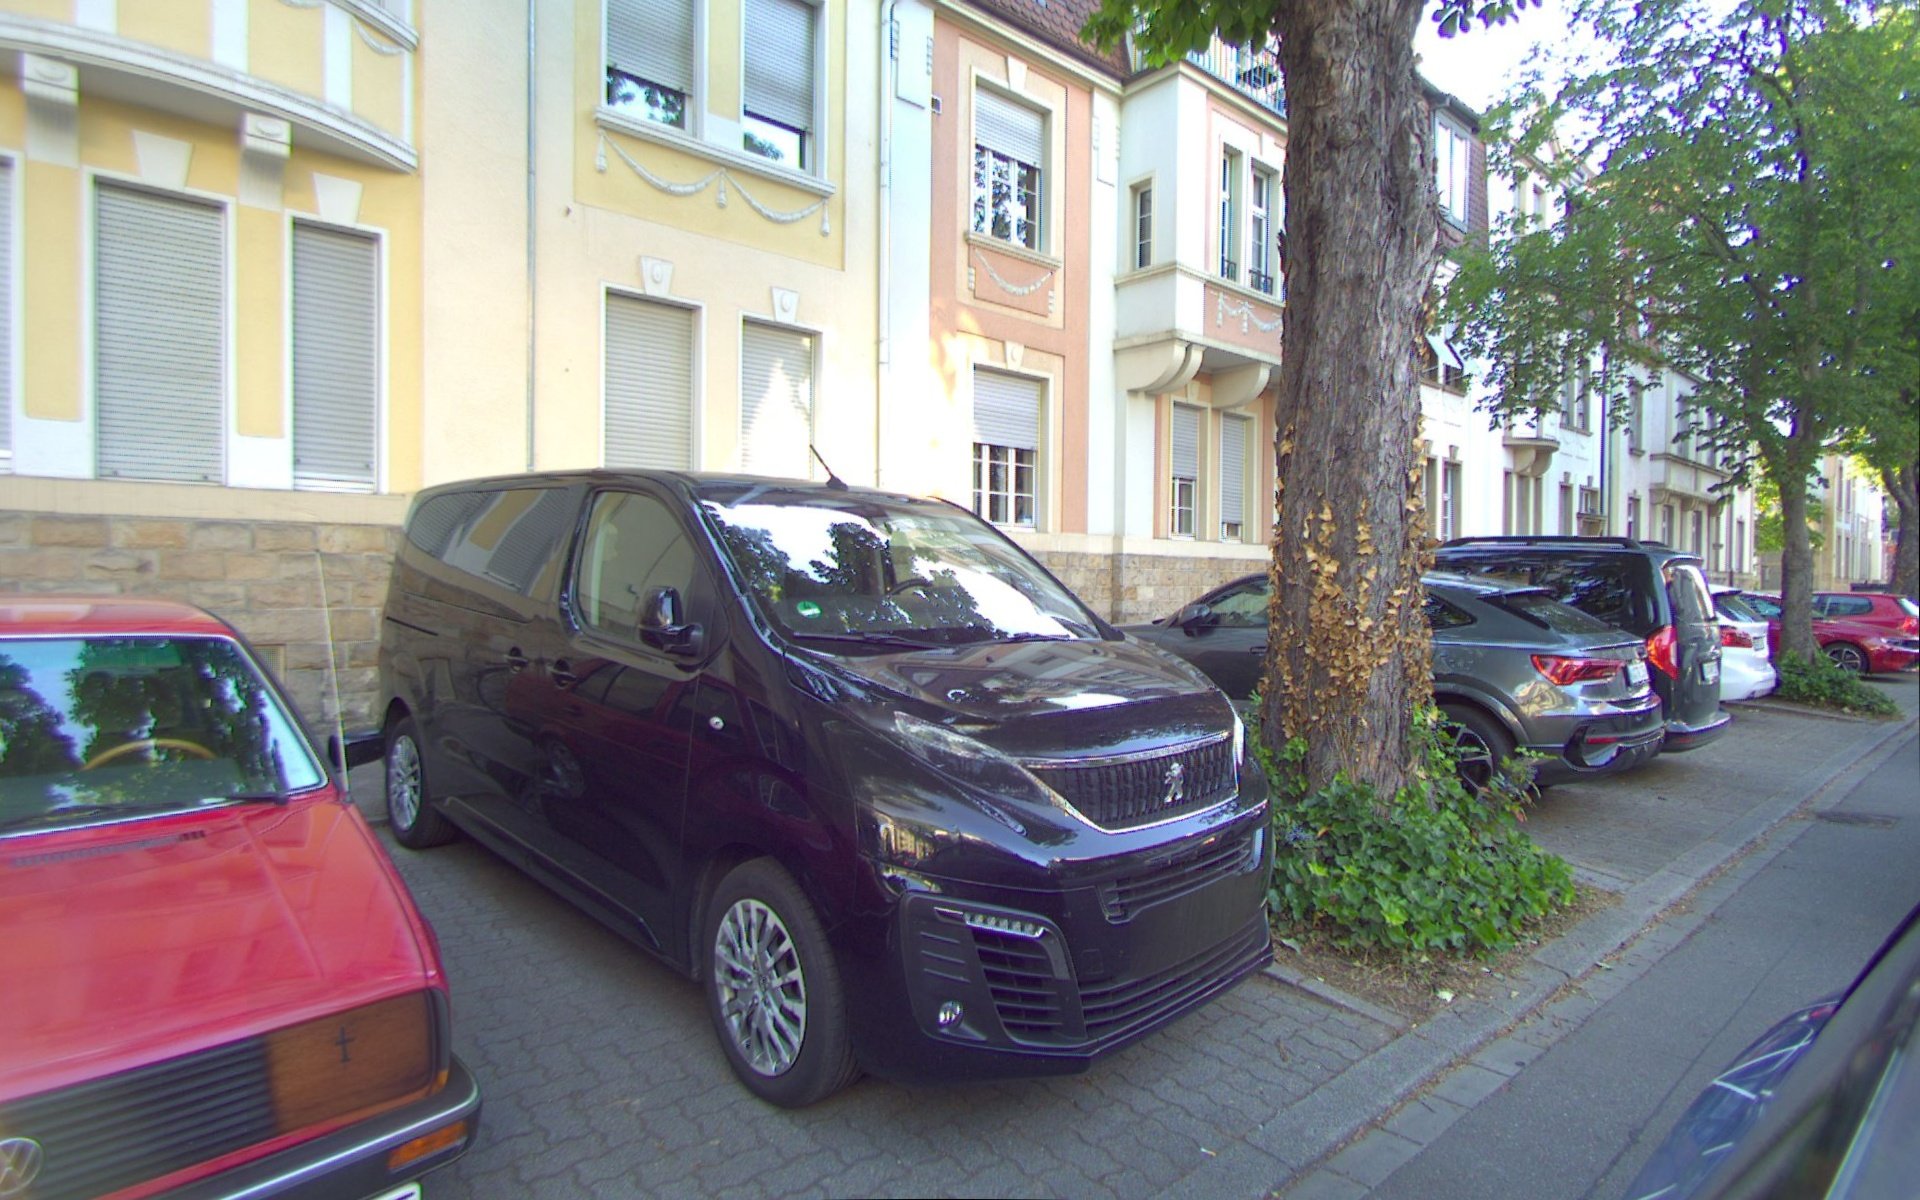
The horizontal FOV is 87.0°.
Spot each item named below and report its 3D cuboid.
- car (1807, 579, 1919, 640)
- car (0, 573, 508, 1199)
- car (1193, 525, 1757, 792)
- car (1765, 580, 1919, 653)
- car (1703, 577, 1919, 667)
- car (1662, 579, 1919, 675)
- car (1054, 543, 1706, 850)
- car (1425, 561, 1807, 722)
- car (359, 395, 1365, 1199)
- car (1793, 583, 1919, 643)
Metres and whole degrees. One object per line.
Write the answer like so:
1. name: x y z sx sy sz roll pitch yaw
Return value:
1. car: 25.944 0.259 27.986 1.511 1.584 3.621 0 2 -40
2. car: -2.798 0.657 2.970 1.532 1.336 3.917 -1 4 -43
3. car: 4.326 0.283 9.023 1.569 1.849 4.165 -1 4 -44
4. car: 21.628 0.365 24.093 1.511 1.584 3.621 0 2 -40
5. car: 16.872 0.375 19.667 1.511 1.482 3.621 0 3 -40
6. car: 14.898 0.401 18.046 1.511 1.420 3.621 0 3 -40
7. car: 2.805 0.422 7.505 1.569 1.611 4.165 -1 4 -44
8. car: 7.811 0.374 12.279 1.513 1.569 3.616 -1 3 -45
9. car: -0.982 0.346 4.529 1.851 1.846 4.825 -1 4 -44
10. car: 24.076 0.339 26.236 1.511 1.420 3.621 0 3 -40
